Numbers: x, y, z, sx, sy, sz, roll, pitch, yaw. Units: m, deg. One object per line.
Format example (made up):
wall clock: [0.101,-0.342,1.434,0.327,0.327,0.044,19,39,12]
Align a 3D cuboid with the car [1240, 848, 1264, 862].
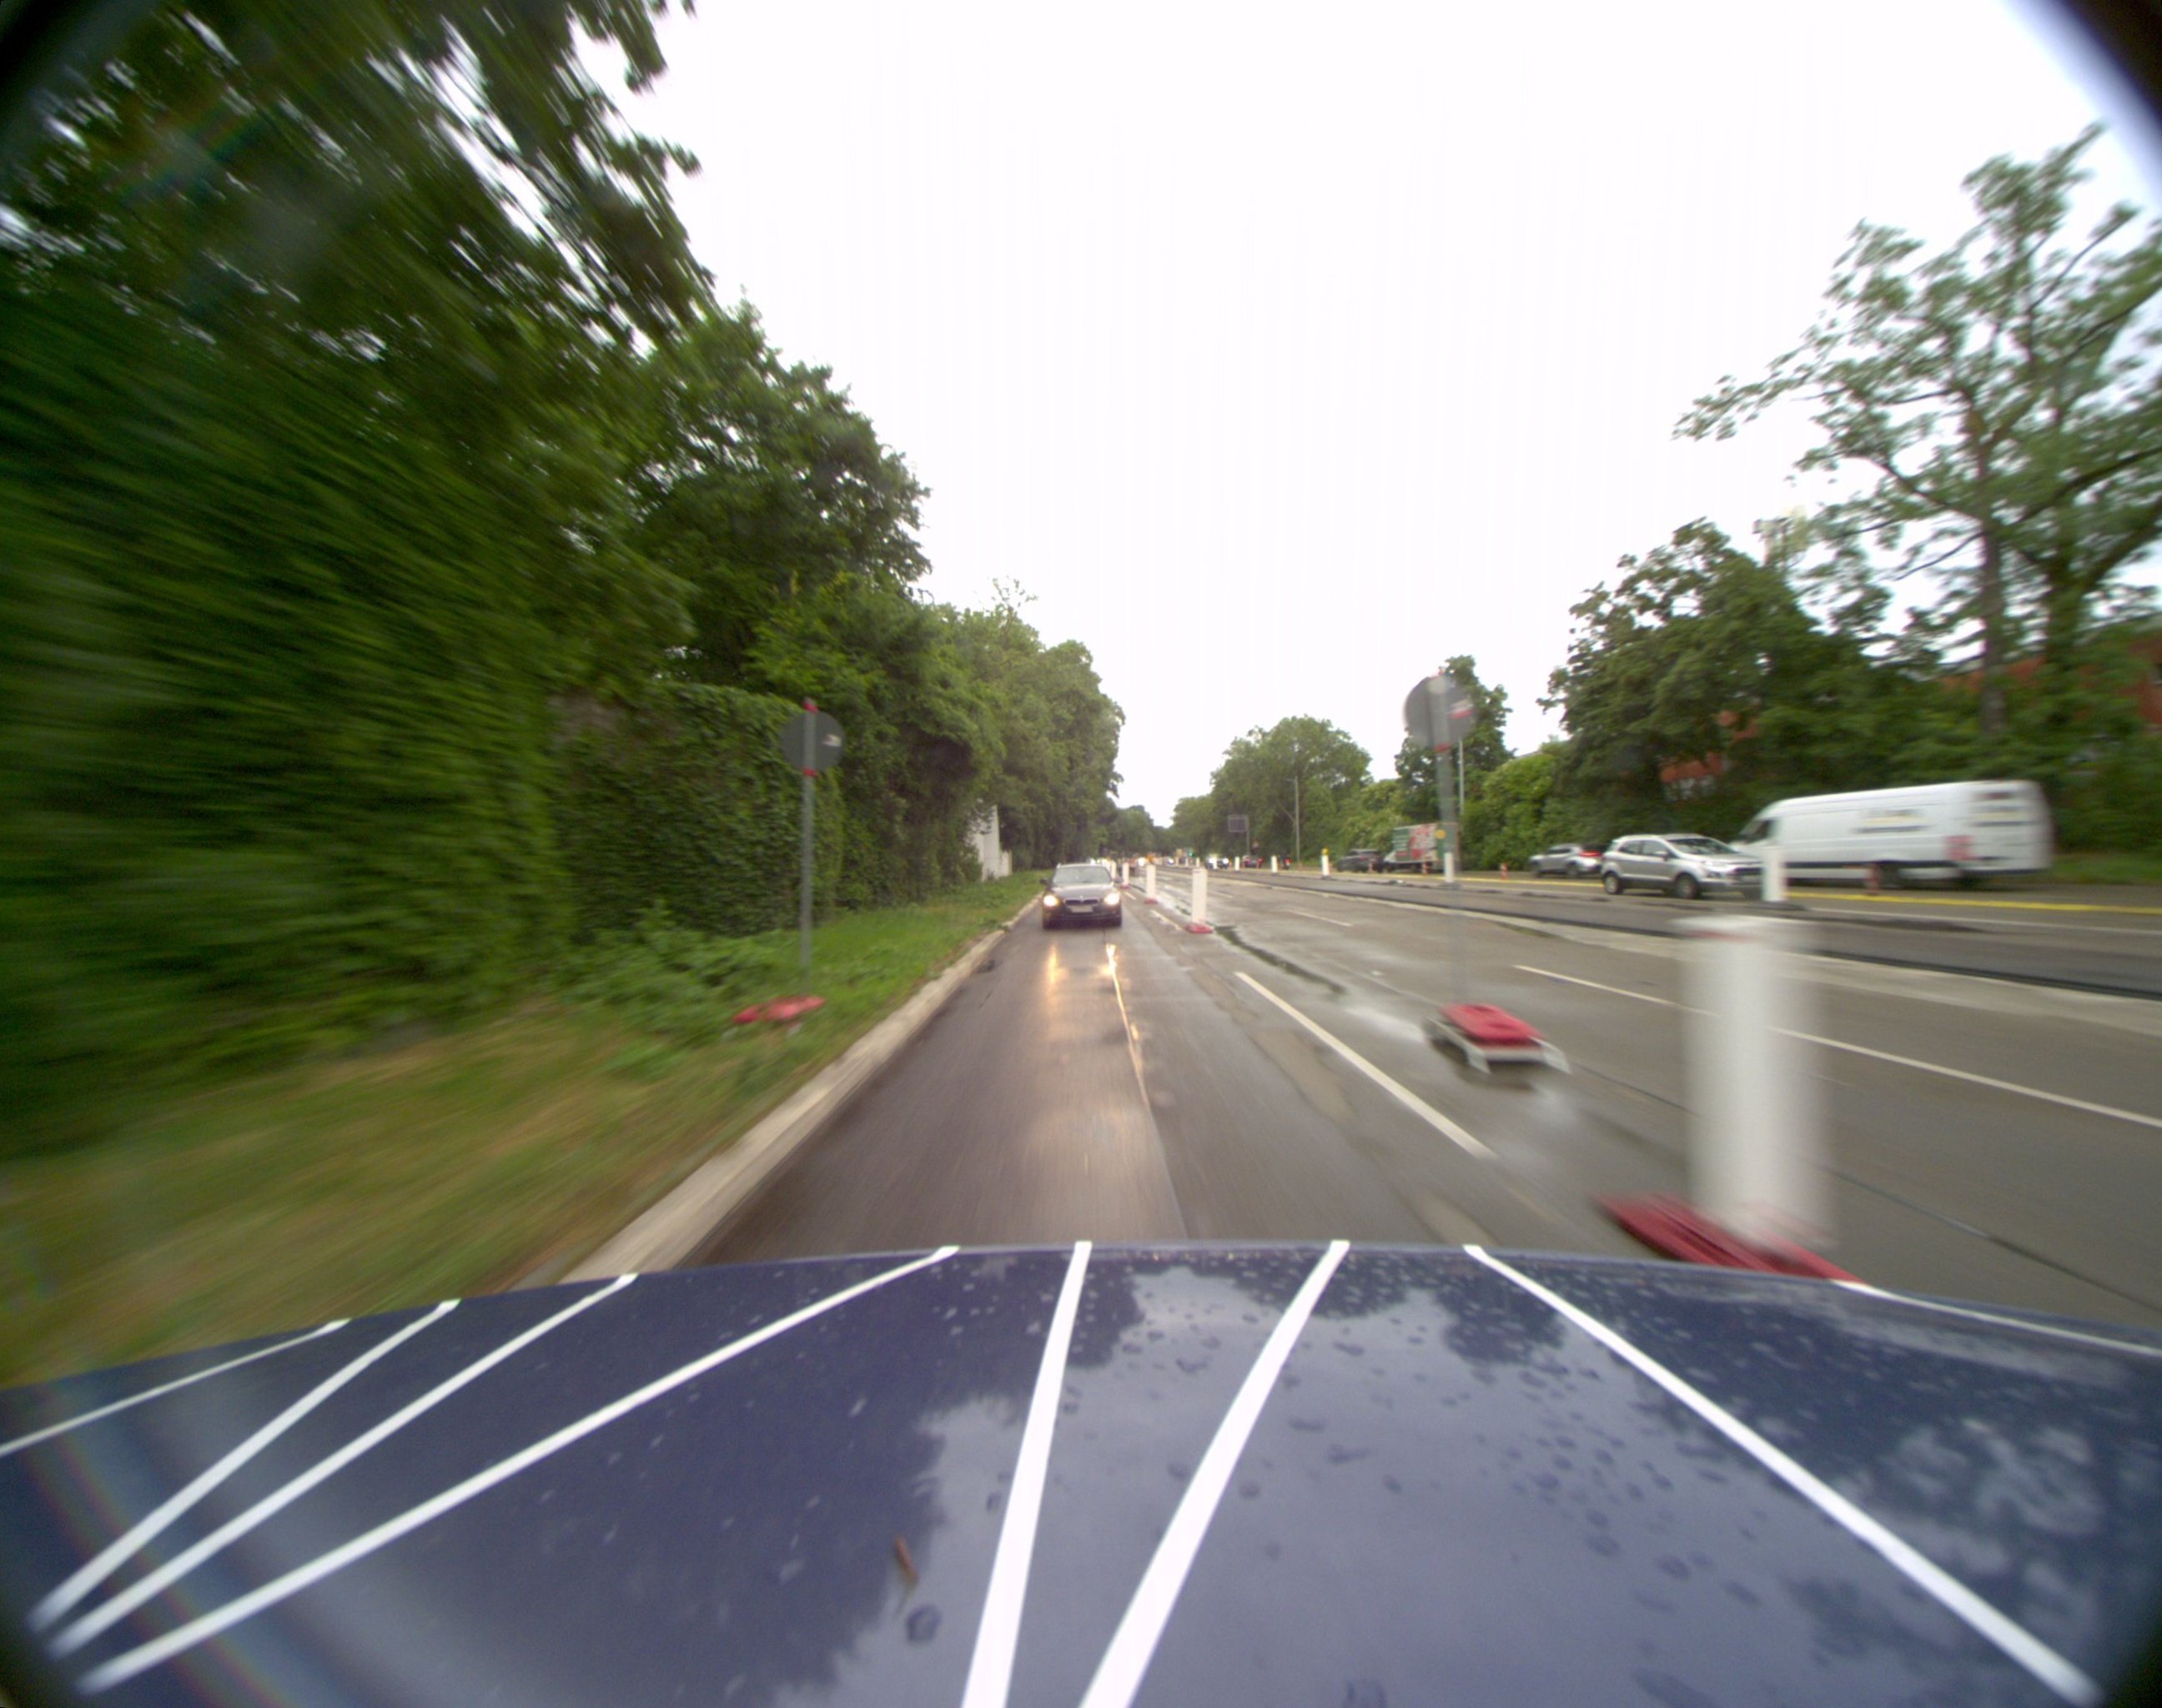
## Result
car: [18.730,0.103,83.548,1.691,1.434,4.108,-2,0,0]

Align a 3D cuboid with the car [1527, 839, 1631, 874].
car: [20.967,0.080,32.184,1.720,1.357,4.081,-1,0,0]

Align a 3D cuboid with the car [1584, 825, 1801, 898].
car: [15.270,0.193,19.368,1.893,1.555,4.363,-3,0,-1]

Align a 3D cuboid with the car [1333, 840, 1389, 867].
car: [18.769,-0.037,51.106,1.998,1.683,4.807,-1,0,0]

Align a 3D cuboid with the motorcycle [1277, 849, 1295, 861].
motorcycle: [18.217,0.096,67.539,0.810,0.983,2.593,-3,0,0]

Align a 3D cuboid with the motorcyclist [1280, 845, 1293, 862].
motorcyclist: [18.194,-0.040,67.237,0.816,1.402,0.975,-3,0,0]

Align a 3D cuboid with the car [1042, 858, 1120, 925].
car: [0.024,0.816,18.322,1.658,1.409,4.129,0,0,0]

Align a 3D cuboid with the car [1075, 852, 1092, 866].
car: [0.346,0.572,94.851,1.998,1.707,4.000,-1,0,3]

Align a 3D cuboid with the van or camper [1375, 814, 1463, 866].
van or camper: [21.517,-0.815,48.876,2.303,3.044,7.452,-2,0,0]

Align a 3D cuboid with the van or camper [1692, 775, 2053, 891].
van or camper: [21.180,-0.473,21.212,1.998,2.540,7.730,-3,0,1]

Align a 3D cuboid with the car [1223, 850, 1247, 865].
car: [17.440,0.378,86.184,1.998,1.619,4.813,-2,0,4]
